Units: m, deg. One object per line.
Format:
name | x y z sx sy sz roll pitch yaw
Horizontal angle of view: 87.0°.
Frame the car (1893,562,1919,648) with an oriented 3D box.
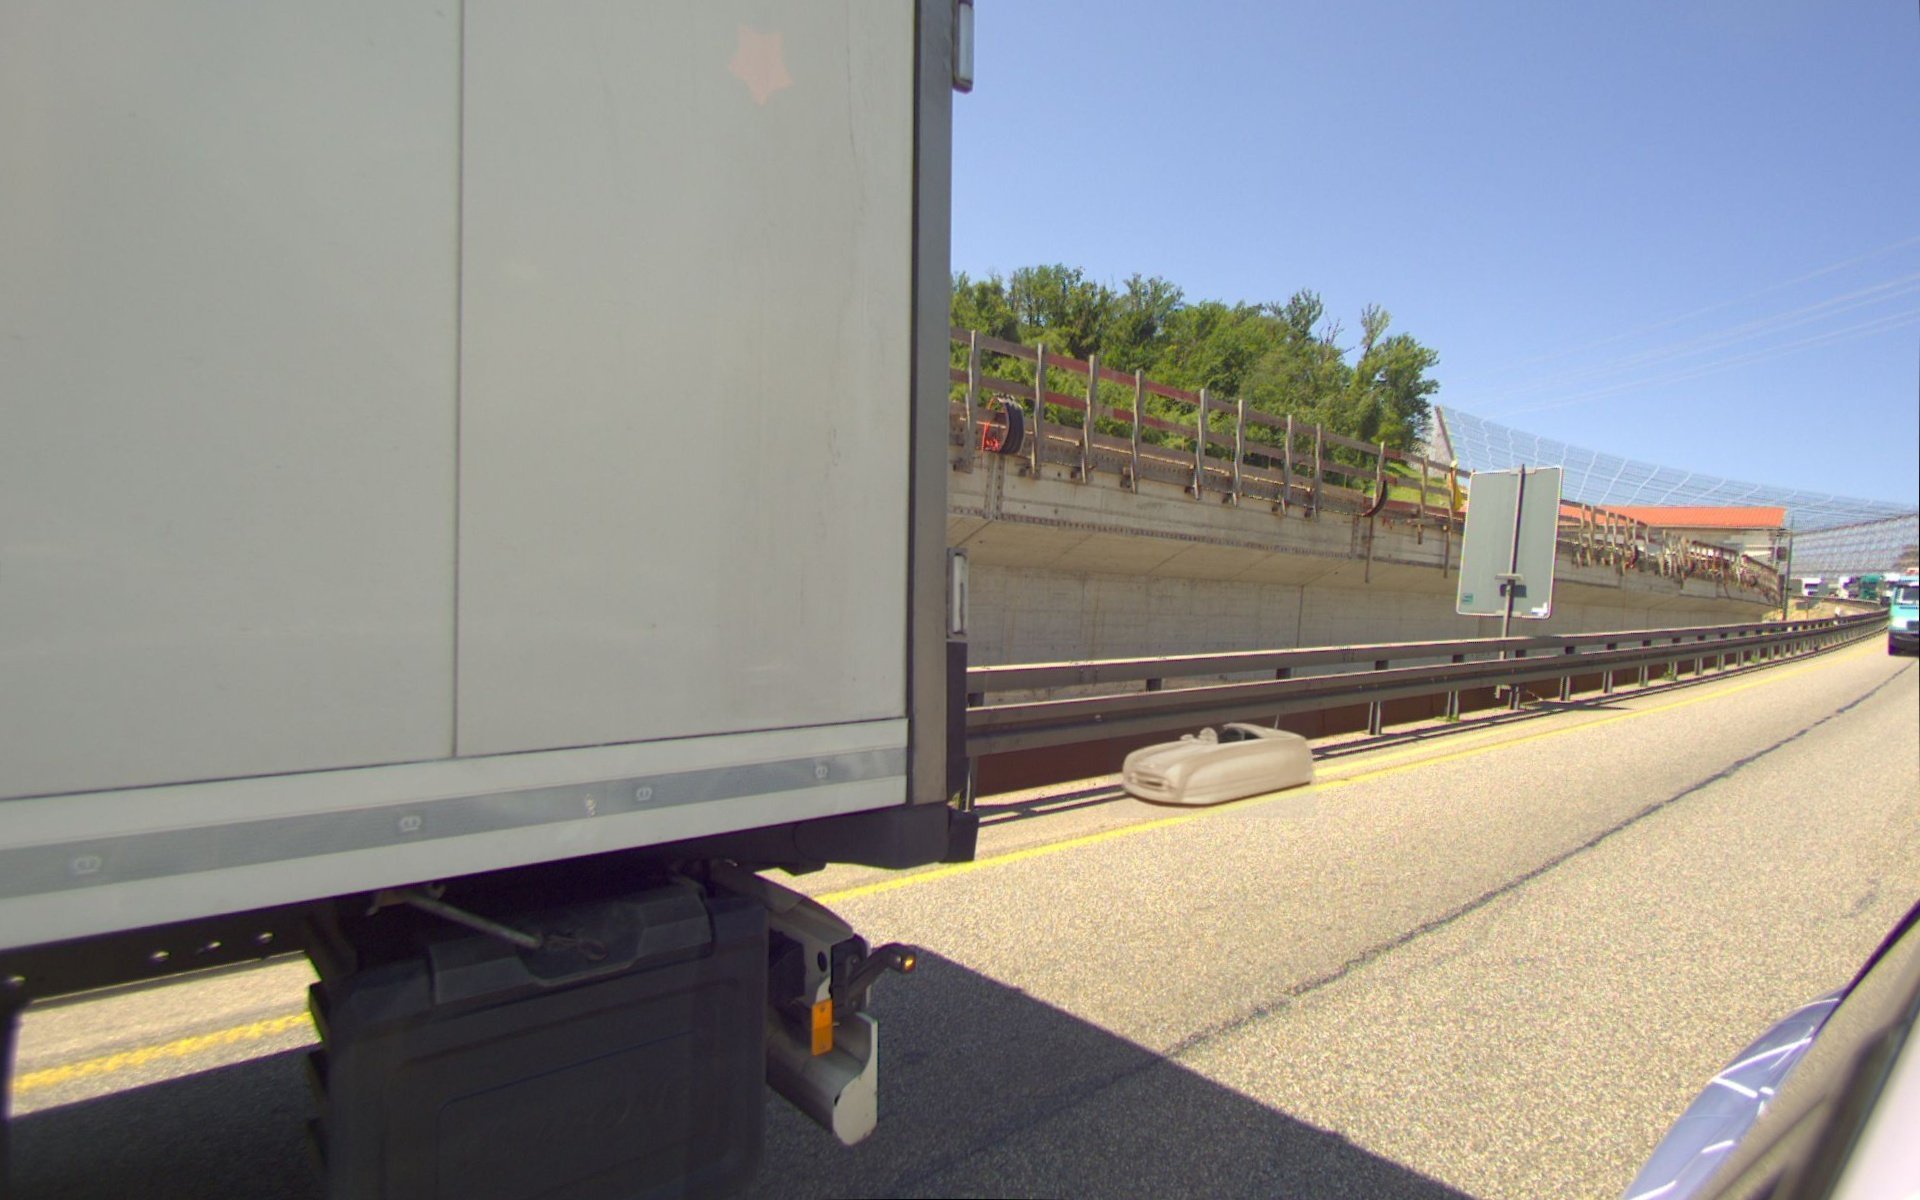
car | 28.964 0.112 29.380 6.785 2.355 2.214 -1 1 -43
